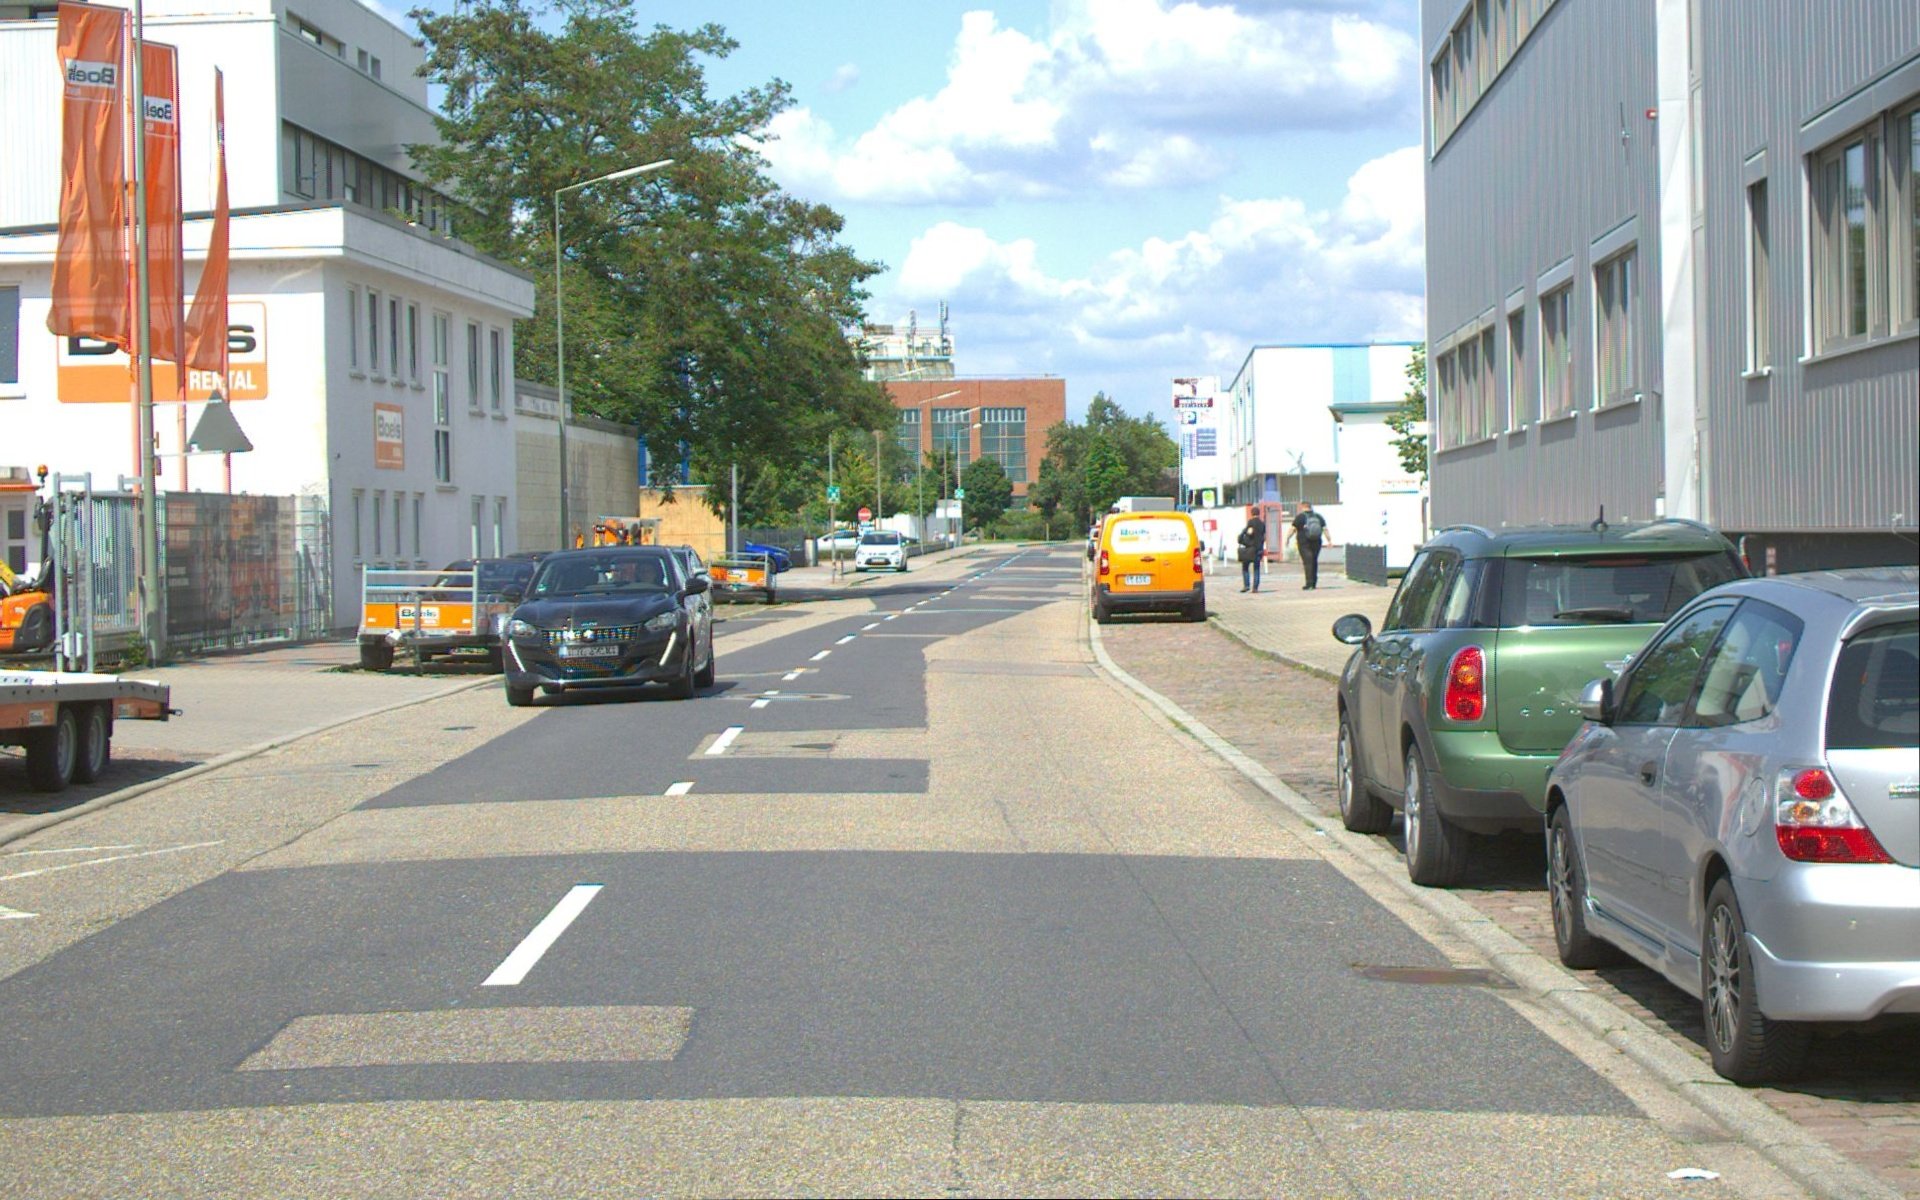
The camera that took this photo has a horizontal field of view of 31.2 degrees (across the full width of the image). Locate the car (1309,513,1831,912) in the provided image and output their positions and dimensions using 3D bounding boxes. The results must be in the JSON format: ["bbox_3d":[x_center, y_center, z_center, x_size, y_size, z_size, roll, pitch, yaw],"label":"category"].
[{"bbox_3d":[2.718,0.443,16.150,1.768,1.607,3.873,-1,1,1],"label":"car"}]

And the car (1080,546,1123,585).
[{"bbox_3d":[6.610,-1.633,161.329,1.940,1.736,4.376,-2,1,2],"label":"car"}]

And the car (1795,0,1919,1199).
[{"bbox_3d":[3.188,-0.297,3.869,2.388,3.351,6.646,-4,1,-3],"label":"car"}]

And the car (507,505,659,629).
[{"bbox_3d":[-6.286,-0.560,57.743,1.993,2.007,4.000,0,1,2],"label":"car"}]

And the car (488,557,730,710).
[{"bbox_3d":[-3.229,0.273,32.293,1.918,1.280,3.615,-2,1,-1],"label":"car"}]

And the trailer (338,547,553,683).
[{"bbox_3d":[-6.256,0.142,42.233,1.993,1.551,4.254,-1,1,0],"label":"trailer"}]

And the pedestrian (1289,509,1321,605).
[{"bbox_3d":[7.407,-0.932,73.868,0.589,2.044,0.702,-1,1,-1],"label":"pedestrian"}]

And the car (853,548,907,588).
[{"bbox_3d":[-3.128,-1.255,134.861,1.810,1.558,4.000,0,1,3],"label":"car"}]

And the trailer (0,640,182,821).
[{"bbox_3d":[-6.579,0.760,21.175,2.362,0.890,5.569,1,1,-1],"label":"trailer"}]

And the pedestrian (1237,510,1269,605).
[{"bbox_3d":[6.232,-0.905,73.179,0.589,2.007,0.618,-1,1,-1],"label":"pedestrian"}]

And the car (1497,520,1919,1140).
[{"bbox_3d":[2.823,0.546,10.886,1.567,1.568,4.069,-2,1,0],"label":"car"}]

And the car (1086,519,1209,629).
[{"bbox_3d":[3.143,-0.453,58.329,1.940,1.736,4.376,-2,1,2],"label":"car"}]

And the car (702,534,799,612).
[{"bbox_3d":[-4.905,-0.645,80.923,1.922,1.788,4.000,0,1,2],"label":"car"}]
